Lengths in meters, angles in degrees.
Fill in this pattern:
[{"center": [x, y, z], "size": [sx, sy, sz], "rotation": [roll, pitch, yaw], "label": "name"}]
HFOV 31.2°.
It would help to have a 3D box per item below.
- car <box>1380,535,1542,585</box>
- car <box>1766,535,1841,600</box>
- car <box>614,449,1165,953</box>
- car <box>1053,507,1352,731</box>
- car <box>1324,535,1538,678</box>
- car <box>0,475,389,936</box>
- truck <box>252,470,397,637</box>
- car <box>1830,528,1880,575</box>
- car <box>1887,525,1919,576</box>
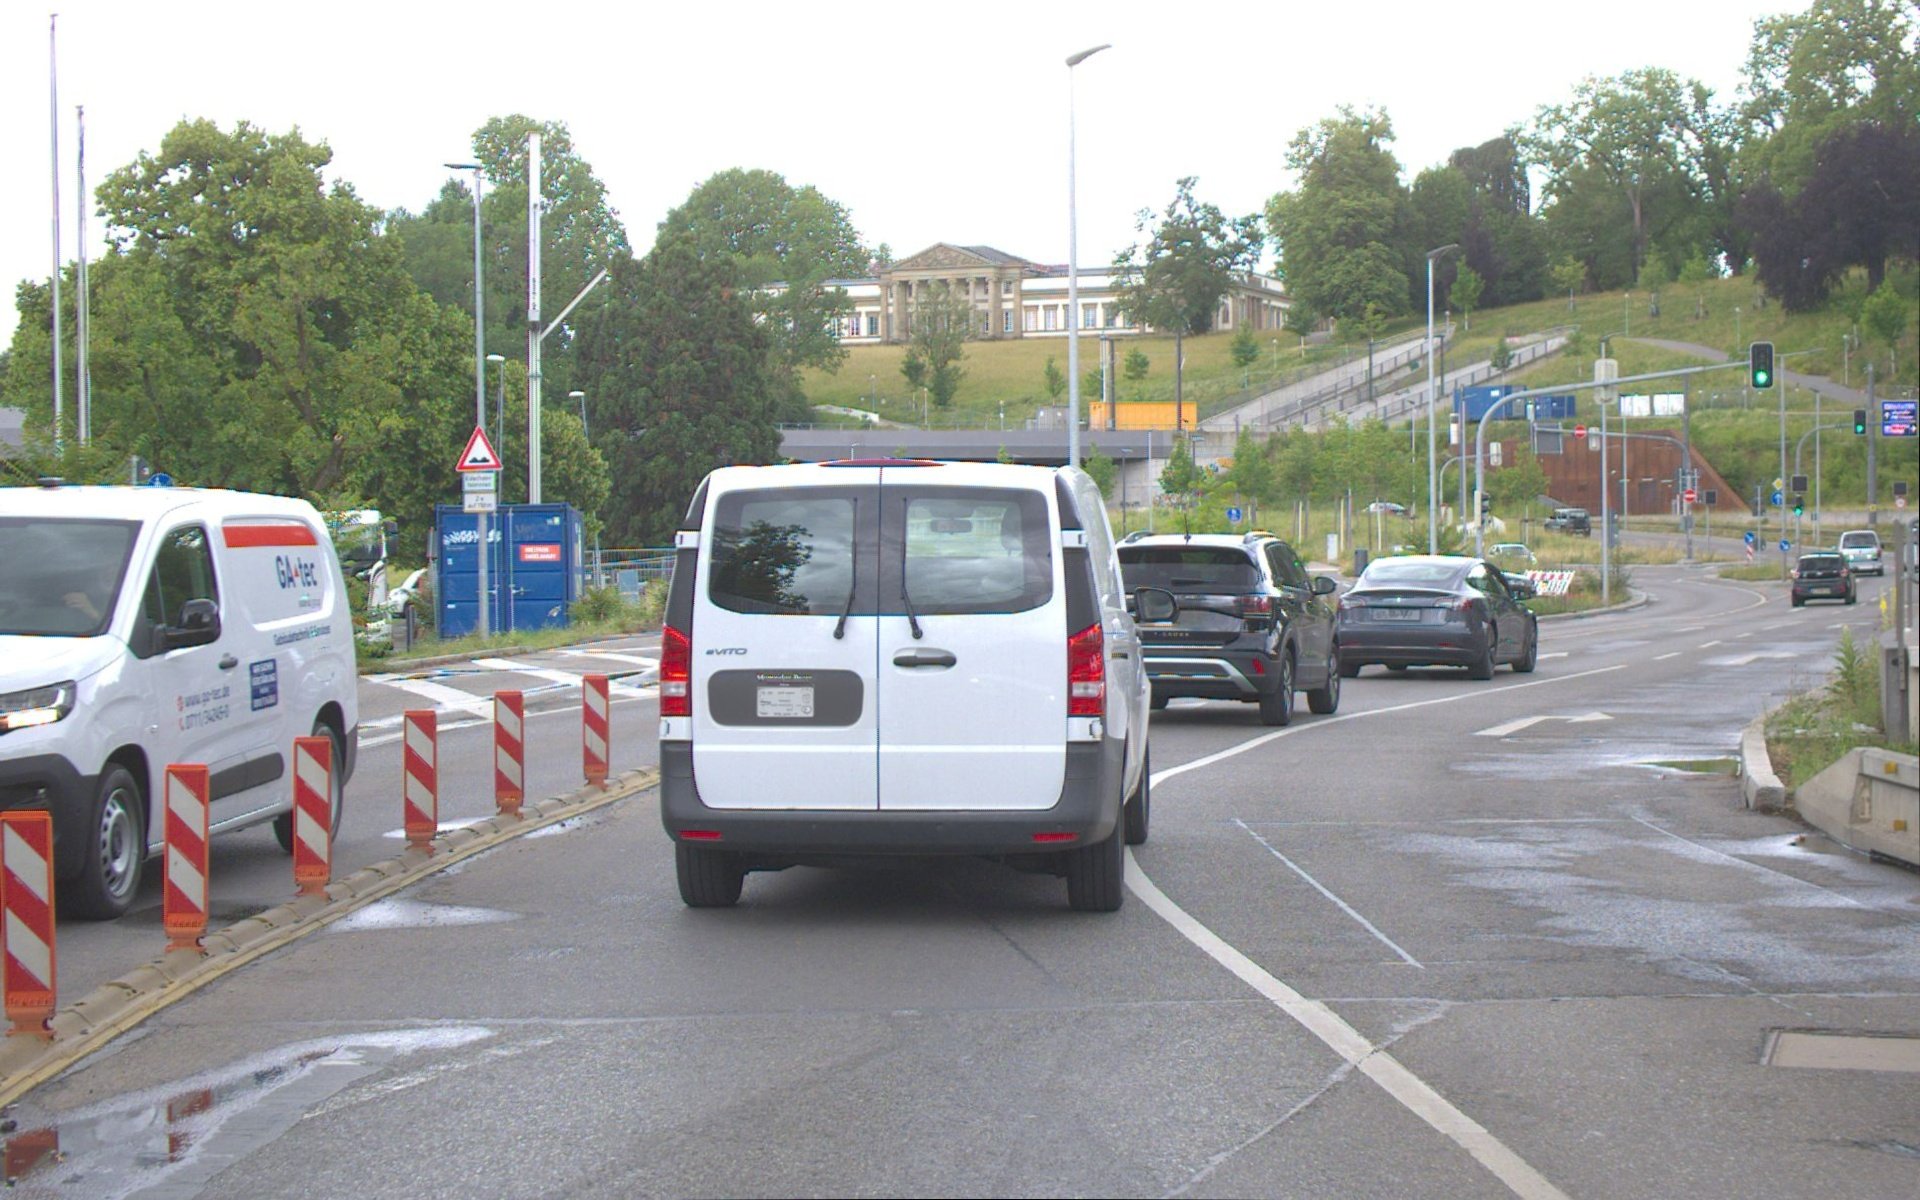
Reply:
[{"center": [16.085, -1.269, 110.361], "size": [4.716, 1.472, 1.997], "rotation": [-1, 2, 28], "label": "car"}, {"center": [24.340, -0.939, 99.218], "size": [1.995, 1.766, 3.998], "rotation": [2, 1, 14], "label": "car"}, {"center": [-0.149, 0.345, 15.476], "size": [1.959, 1.897, 4.461], "rotation": [1, 1, 5], "label": "car"}, {"center": [2.127, 0.114, 29.081], "size": [1.839, 1.723, 4.060], "rotation": [1, 1, 14], "label": "car"}, {"center": [5.666, 0.044, 40.985], "size": [1.840, 1.577, 4.059], "rotation": [2, 1, 18], "label": "car"}, {"center": [-4.130, 0.337, 15.670], "size": [1.864, 1.776, 4.748], "rotation": [-1, 2, 5], "label": "car"}, {"center": [-13.703, -1.033, 74.522], "size": [2.792, 3.324, 8.481], "rotation": [-2, 1, -10], "label": "truck"}, {"center": [35.288, -1.912, 135.616], "size": [1.753, 1.766, 3.998], "rotation": [2, 1, 14], "label": "car"}, {"center": [38.556, -1.978, 138.461], "size": [2.202, 2.007, 5.148], "rotation": [1, 1, 14], "label": "car"}]
